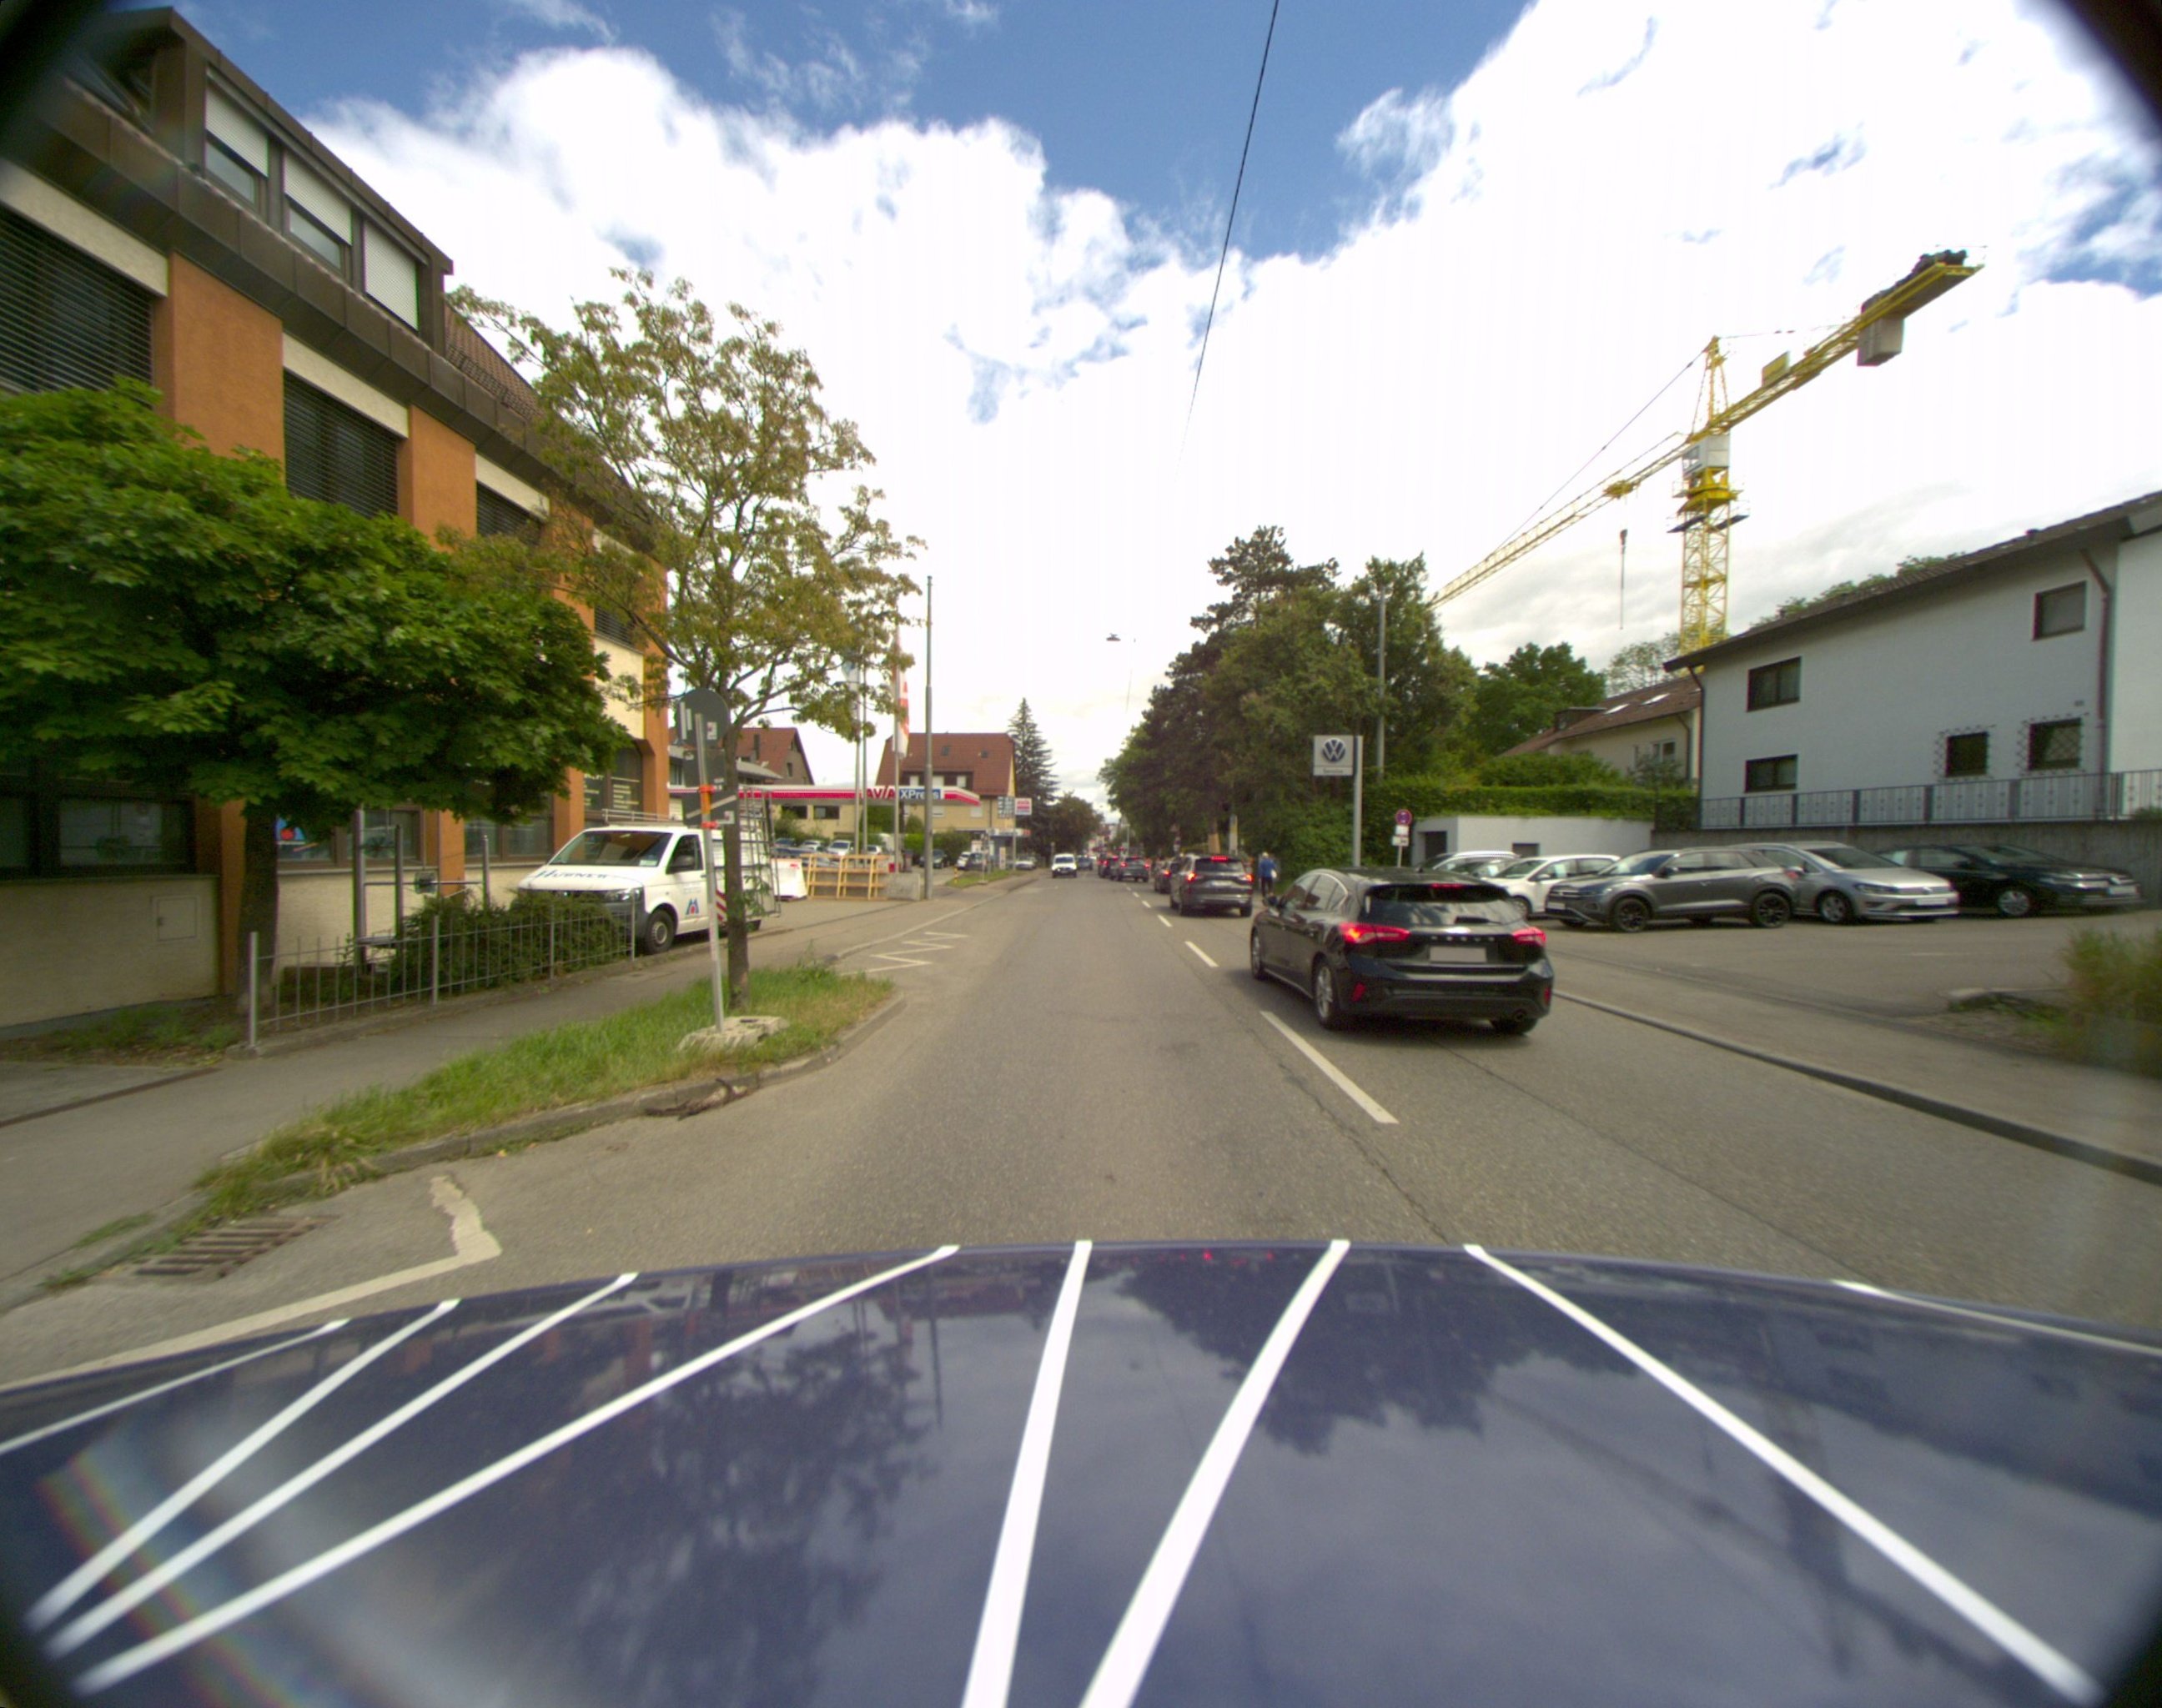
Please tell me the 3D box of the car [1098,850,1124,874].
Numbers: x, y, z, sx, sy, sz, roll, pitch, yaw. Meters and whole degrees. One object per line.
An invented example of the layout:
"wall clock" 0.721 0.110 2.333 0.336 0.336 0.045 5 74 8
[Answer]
"car" 2.506 0.676 64.055 1.913 1.940 4.913 1 0 0

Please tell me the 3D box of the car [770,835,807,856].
"car" -23.617 -0.729 61.475 1.571 1.560 3.497 4 1 -2

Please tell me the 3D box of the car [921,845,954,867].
"car" -11.430 0.120 60.878 1.716 1.533 4.655 4 1 -1

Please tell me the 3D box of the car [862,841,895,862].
"car" -16.269 -0.233 61.308 1.641 1.576 3.745 4 1 -2

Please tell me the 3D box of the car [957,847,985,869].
"car" -8.901 0.280 61.778 1.638 1.520 4.202 4 1 -2

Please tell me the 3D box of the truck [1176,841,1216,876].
"truck" 8.576 0.277 57.216 2.311 2.406 6.093 -1 1 2

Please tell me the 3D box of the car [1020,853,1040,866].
"car" -5.459 0.608 81.707 1.789 1.276 4.316 1 1 0

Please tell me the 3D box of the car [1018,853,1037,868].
"car" -5.361 0.656 76.607 1.789 1.309 4.480 1 1 -2

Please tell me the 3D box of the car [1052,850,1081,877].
"car" -1.058 0.678 57.691 1.965 1.796 4.428 -1 1 1

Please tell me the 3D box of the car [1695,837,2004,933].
"car" 14.995 0.572 15.264 1.811 1.575 4.328 -3 -1 1

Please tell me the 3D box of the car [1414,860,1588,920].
"car" 11.261 0.939 20.546 3.749 1.509 1.729 0 0 -1

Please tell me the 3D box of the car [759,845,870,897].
"car" -9.892 0.598 28.066 4.305 1.621 1.639 3 0 36

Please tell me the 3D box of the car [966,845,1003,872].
"car" -6.599 0.297 52.265 1.618 1.587 4.160 6 1 4

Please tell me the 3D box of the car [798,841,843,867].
"car" -18.099 -0.055 52.978 1.634 1.493 3.745 4 4 2

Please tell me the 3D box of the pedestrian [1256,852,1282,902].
"pedestrian" 6.658 0.799 26.974 0.684 1.727 0.868 -1 2 0

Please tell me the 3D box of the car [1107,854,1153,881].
"car" 3.040 0.816 47.908 1.872 1.608 4.531 1 0 -10

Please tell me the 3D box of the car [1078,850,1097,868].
"car" 0.756 0.559 85.678 1.965 1.796 4.222 -1 1 1

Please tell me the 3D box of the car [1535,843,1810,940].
"car" 11.293 0.682 14.688 4.023 1.621 1.654 -2 0 -1

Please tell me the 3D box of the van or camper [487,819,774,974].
"van or camper" -6.851 0.522 12.296 1.871 2.020 4.546 -1 1 0

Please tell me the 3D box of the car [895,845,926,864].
"car" -13.715 0.028 61.285 1.640 1.364 3.745 4 1 -2

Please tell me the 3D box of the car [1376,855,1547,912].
"car" 11.619 0.878 23.416 4.300 1.631 1.904 -1 0 2

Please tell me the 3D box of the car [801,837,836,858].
"car" -21.077 -0.556 61.075 1.571 1.560 3.497 4 1 -2

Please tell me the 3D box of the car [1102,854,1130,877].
"car" 2.469 0.810 54.448 1.870 1.518 4.528 1 0 1

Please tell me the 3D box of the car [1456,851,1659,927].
"car" 11.022 0.785 17.729 3.749 1.551 1.534 -2 0 -1

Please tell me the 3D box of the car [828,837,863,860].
"car" -18.883 -0.472 61.129 1.571 1.673 4.047 4 1 -2

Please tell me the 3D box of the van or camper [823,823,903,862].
"van or camper" -18.654 -0.963 65.134 5.975 2.834 2.531 4 1 -2

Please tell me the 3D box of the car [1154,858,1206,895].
"car" 4.216 0.906 32.985 1.744 1.421 4.524 1 0 2

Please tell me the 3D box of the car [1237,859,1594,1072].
"car" 2.944 0.856 7.814 1.836 1.514 4.170 0 1 0

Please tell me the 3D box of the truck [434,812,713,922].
"truck" -11.926 0.308 18.160 5.099 2.442 2.357 0 -1 1

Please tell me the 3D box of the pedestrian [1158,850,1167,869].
"pedestrian" 8.058 0.584 75.359 0.835 1.837 1.022 -1 2 4

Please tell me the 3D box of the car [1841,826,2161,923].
"car" 17.623 0.373 14.782 1.811 1.575 3.804 -3 -1 1

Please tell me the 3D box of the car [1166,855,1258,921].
"car" 3.481 0.854 20.963 1.836 1.620 4.321 0 0 1
